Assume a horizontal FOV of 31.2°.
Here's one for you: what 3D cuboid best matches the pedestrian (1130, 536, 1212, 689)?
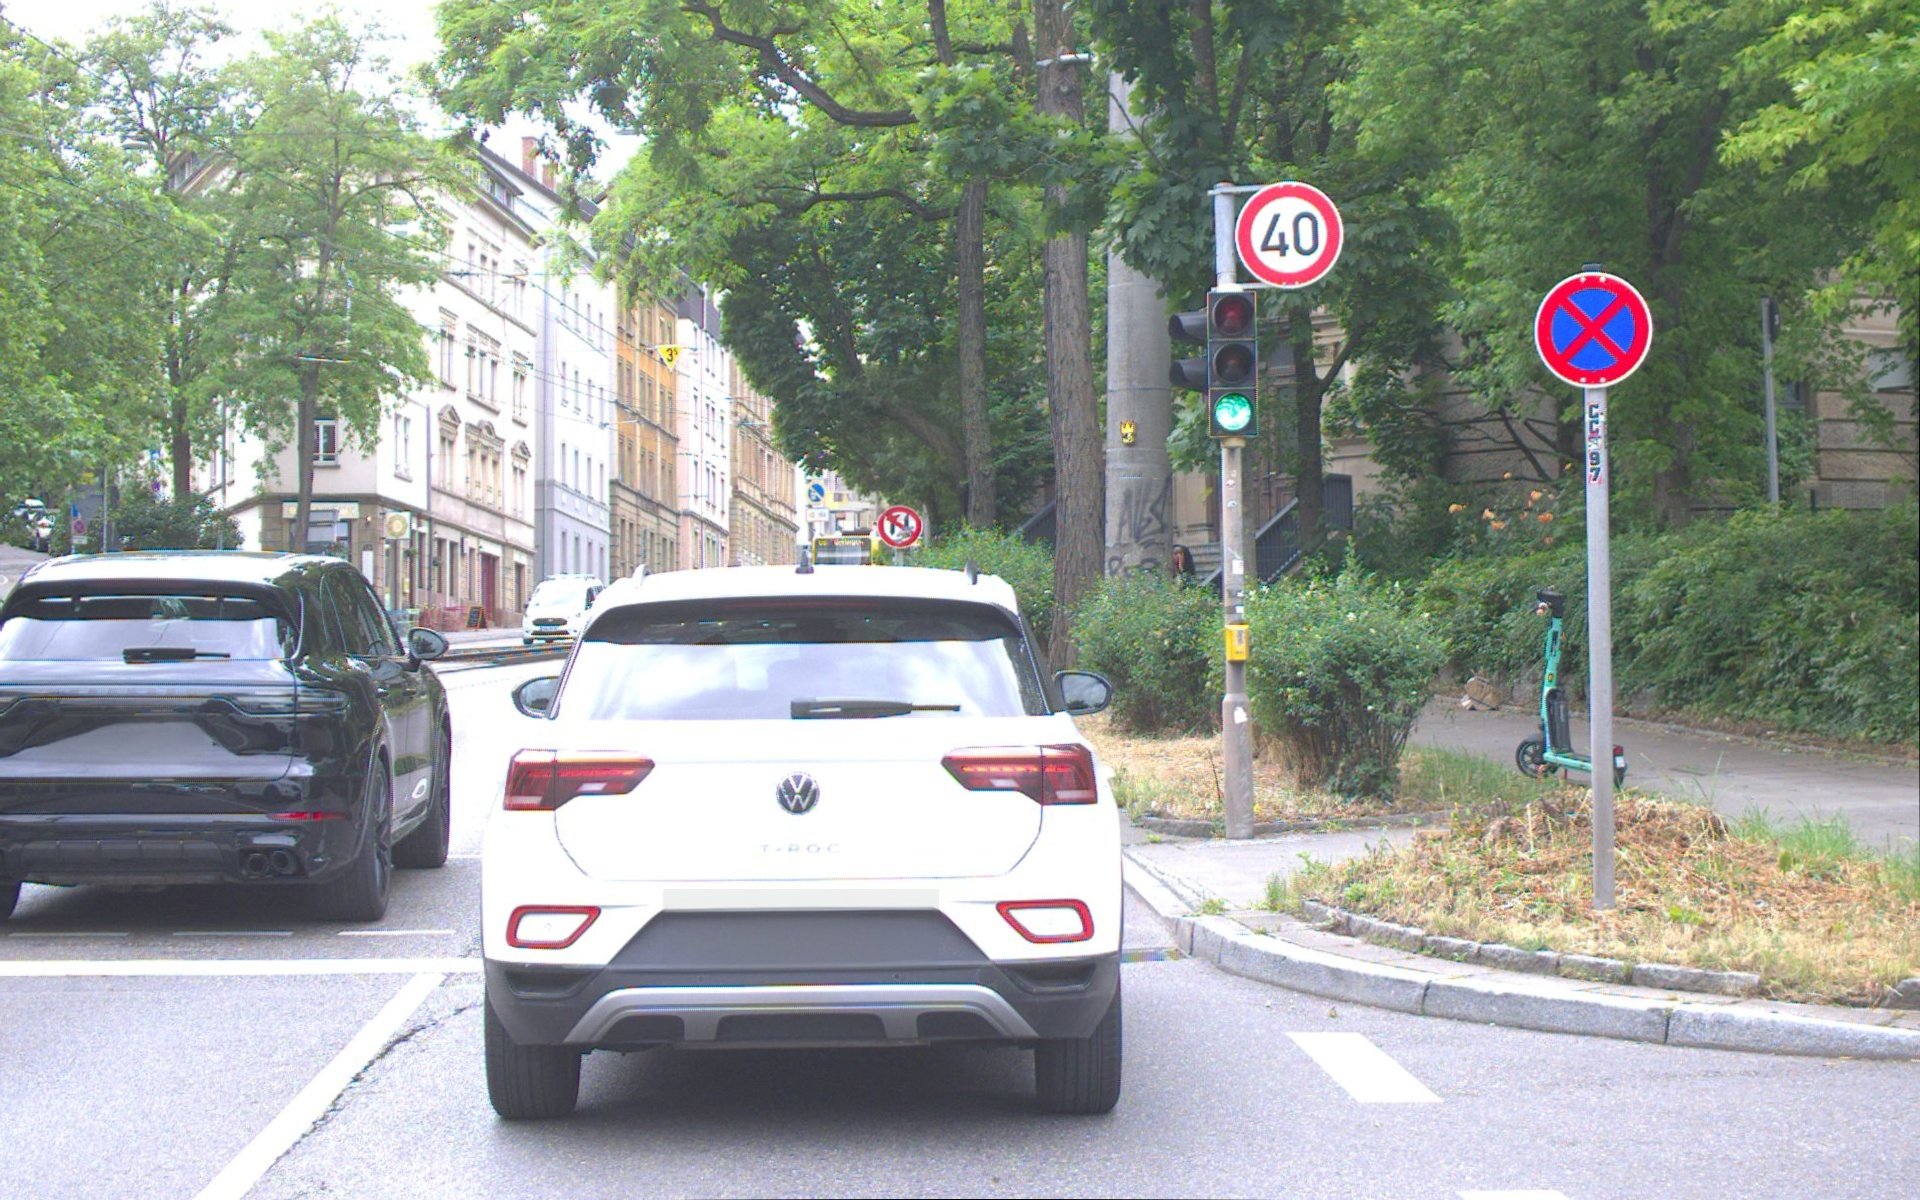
[{"bbox_3d":[2.378,0.136,38.797,0.771,1.697,0.785,-1,0,-7],"label":"pedestrian"}]

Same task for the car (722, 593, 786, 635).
[{"bbox_3d":[-7.879,0.512,131.771,1.994,1.547,4.000,-1,0,3],"label":"car"}]

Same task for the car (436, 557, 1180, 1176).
[{"bbox_3d":[-0.497,0.670,10.736,1.878,1.549,4.000,0,0,-3],"label":"car"}]

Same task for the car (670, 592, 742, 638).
[{"bbox_3d":[-8.959,0.520,121.527,1.994,1.547,4.000,-1,0,3],"label":"car"}]

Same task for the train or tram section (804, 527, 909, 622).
[{"bbox_3d":[-4.235,-1.040,144.083,2.883,3.713,14.854,1,0,4],"label":"train or tram section"}]

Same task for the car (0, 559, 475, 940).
[{"bbox_3d":[-3.548,0.618,16.463,2.037,1.566,4.358,0,0,-3],"label":"car"}]

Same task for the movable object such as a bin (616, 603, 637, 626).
[{"bbox_3d":[-13.739,0.588,141.662,0.779,0.944,0.653,0,0,5],"label":"movable object such as a bin"}]

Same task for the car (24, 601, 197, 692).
[{"bbox_3d":[-14.325,0.756,58.144,1.659,1.438,3.739,-1,0,6],"label":"car"}]

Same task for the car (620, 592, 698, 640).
[{"bbox_3d":[-9.964,0.516,114.062,1.994,1.547,4.000,-1,0,3],"label":"car"}]

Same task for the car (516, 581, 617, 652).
[{"bbox_3d":[-11.248,0.458,98.563,1.947,1.939,5.001,0,1,5],"label":"car"}]

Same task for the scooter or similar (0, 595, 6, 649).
[{"bbox_3d":[-22.037,0.504,78.393,0.489,1.215,1.642,2,-1,-15],"label":"scooter or similar"}]

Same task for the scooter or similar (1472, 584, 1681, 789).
[{"bbox_3d":[3.782,0.514,21.200,0.630,1.206,1.558,-1,0,-16],"label":"scooter or similar"}]
